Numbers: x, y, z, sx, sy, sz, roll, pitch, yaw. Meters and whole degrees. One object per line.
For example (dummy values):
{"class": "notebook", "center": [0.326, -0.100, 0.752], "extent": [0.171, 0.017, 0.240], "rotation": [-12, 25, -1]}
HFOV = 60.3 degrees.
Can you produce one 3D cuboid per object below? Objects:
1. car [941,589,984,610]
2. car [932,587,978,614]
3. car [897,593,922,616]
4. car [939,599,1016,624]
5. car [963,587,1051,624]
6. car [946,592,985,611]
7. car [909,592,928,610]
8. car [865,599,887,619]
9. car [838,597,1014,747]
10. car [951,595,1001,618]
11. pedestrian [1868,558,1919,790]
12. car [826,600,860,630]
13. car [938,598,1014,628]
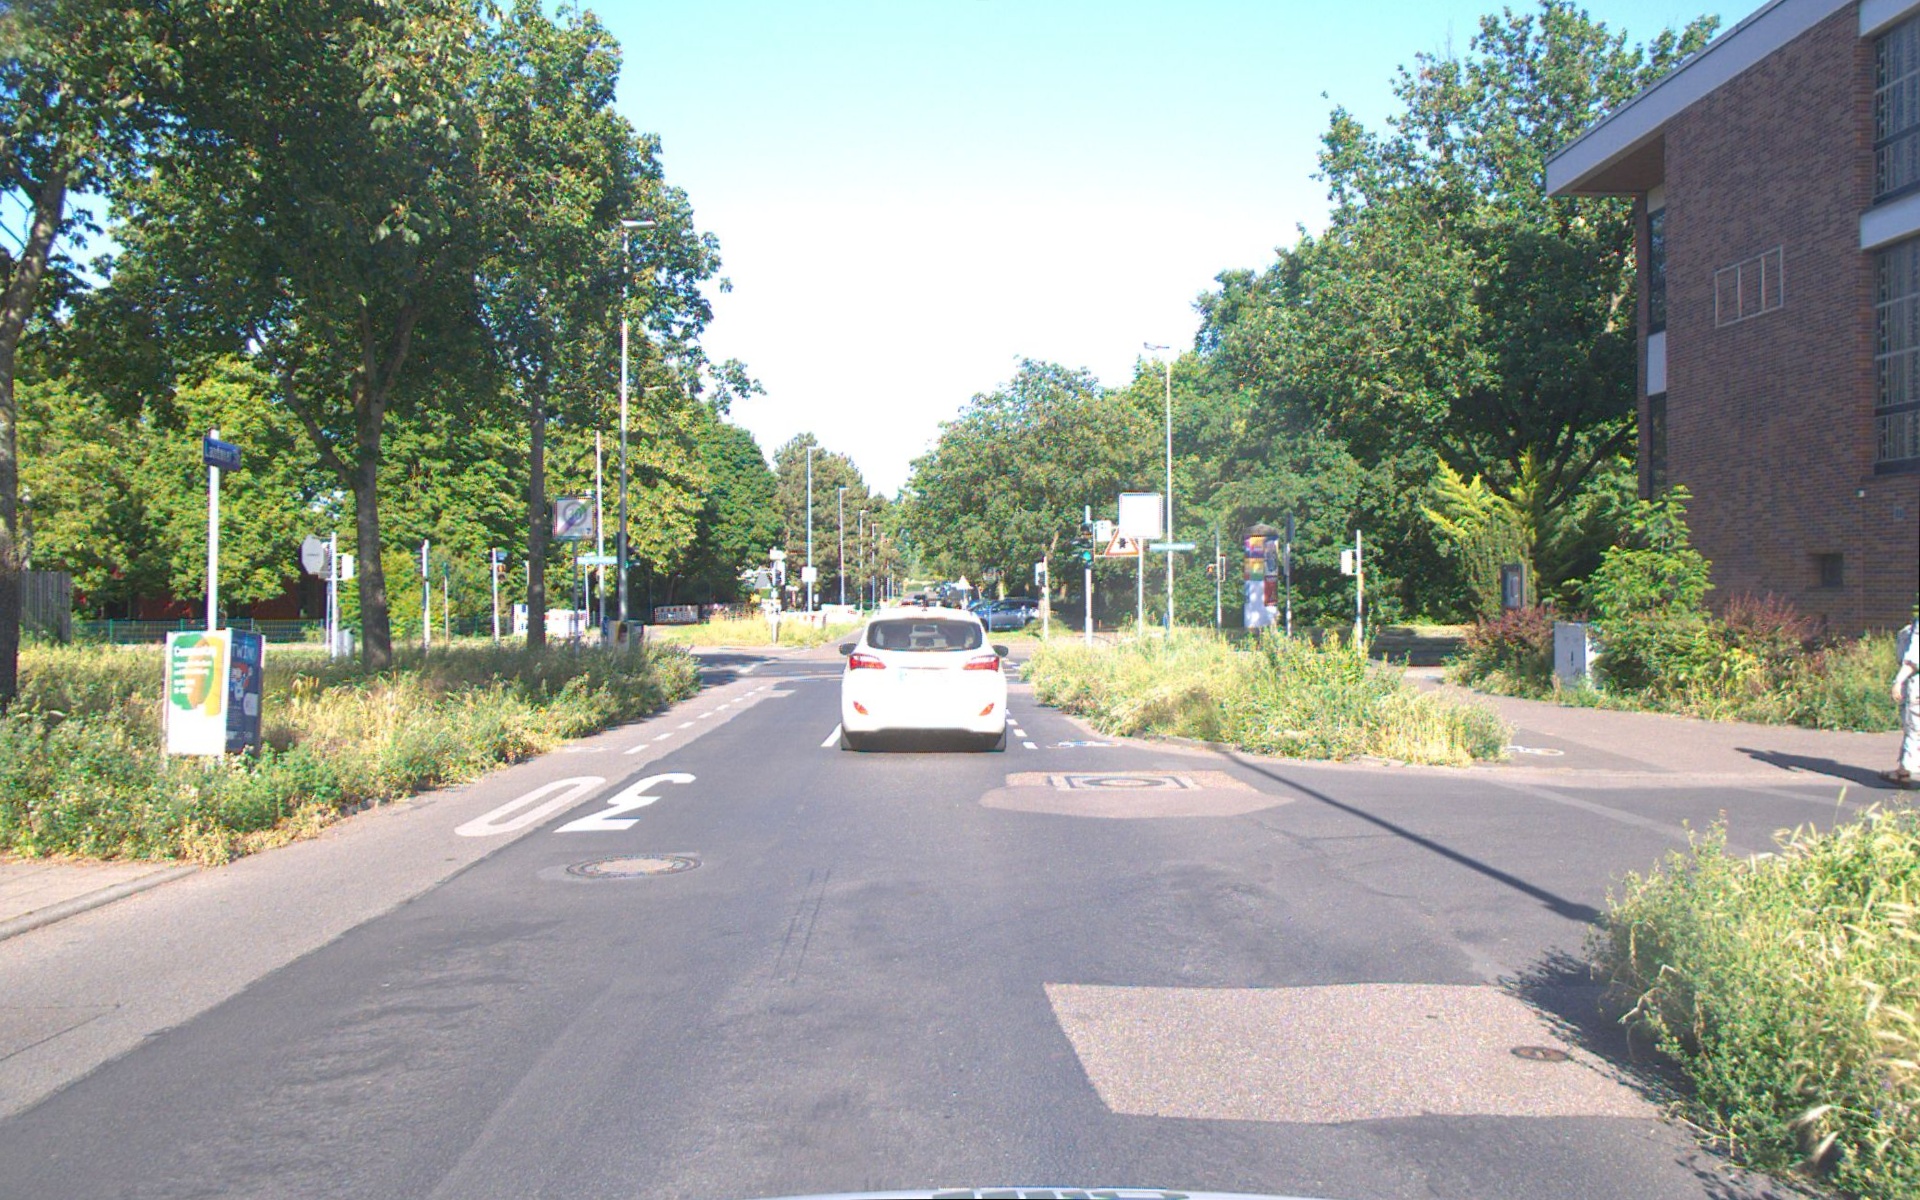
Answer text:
{"class": "car", "center": [0.270, -0.032, 163.594], "extent": [4.214, 1.941, 1.863], "rotation": [1, -1, -1]}
{"class": "car", "center": [-0.417, 0.048, 136.256], "extent": [3.741, 2.135, 1.863], "rotation": [1, -1, -1]}
{"class": "car", "center": [-4.218, 0.369, 138.561], "extent": [1.953, 1.847, 3.999], "rotation": [1, 0, -1]}
{"class": "car", "center": [1.256, 0.798, 119.413], "extent": [5.500, 1.713, 1.947], "rotation": [1, -1, -1]}
{"class": "car", "center": [2.392, 0.274, 84.278], "extent": [4.405, 1.814, 1.855], "rotation": [0, 0, 1]}
{"class": "car", "center": [0.554, 0.119, 160.450], "extent": [3.741, 1.798, 1.863], "rotation": [1, -1, -1]}
{"class": "car", "center": [-4.508, 0.135, 180.116], "extent": [1.953, 1.847, 3.999], "rotation": [1, 0, -1]}
{"class": "car", "center": [-7.945, 0.828, 156.467], "extent": [1.953, 1.847, 3.999], "rotation": [0, 0, -1]}
{"class": "car", "center": [-0.380, 0.716, 18.484], "extent": [1.753, 1.489, 3.962], "rotation": [0, 0, -1]}
{"class": "car", "center": [1.205, 0.514, 126.251], "extent": [3.741, 1.713, 1.863], "rotation": [1, -1, -1]}
{"class": "pedestrian", "center": [7.942, 0.598, 13.523], "extent": [0.883, 1.853, 0.735], "rotation": [0, -1, 30]}
{"class": "car", "center": [-7.635, 0.979, 108.172], "extent": [1.953, 1.847, 3.999], "rotation": [1, 0, -1]}
{"class": "car", "center": [0.937, 0.755, 96.257], "extent": [4.405, 1.658, 1.855], "rotation": [0, 0, 1]}
